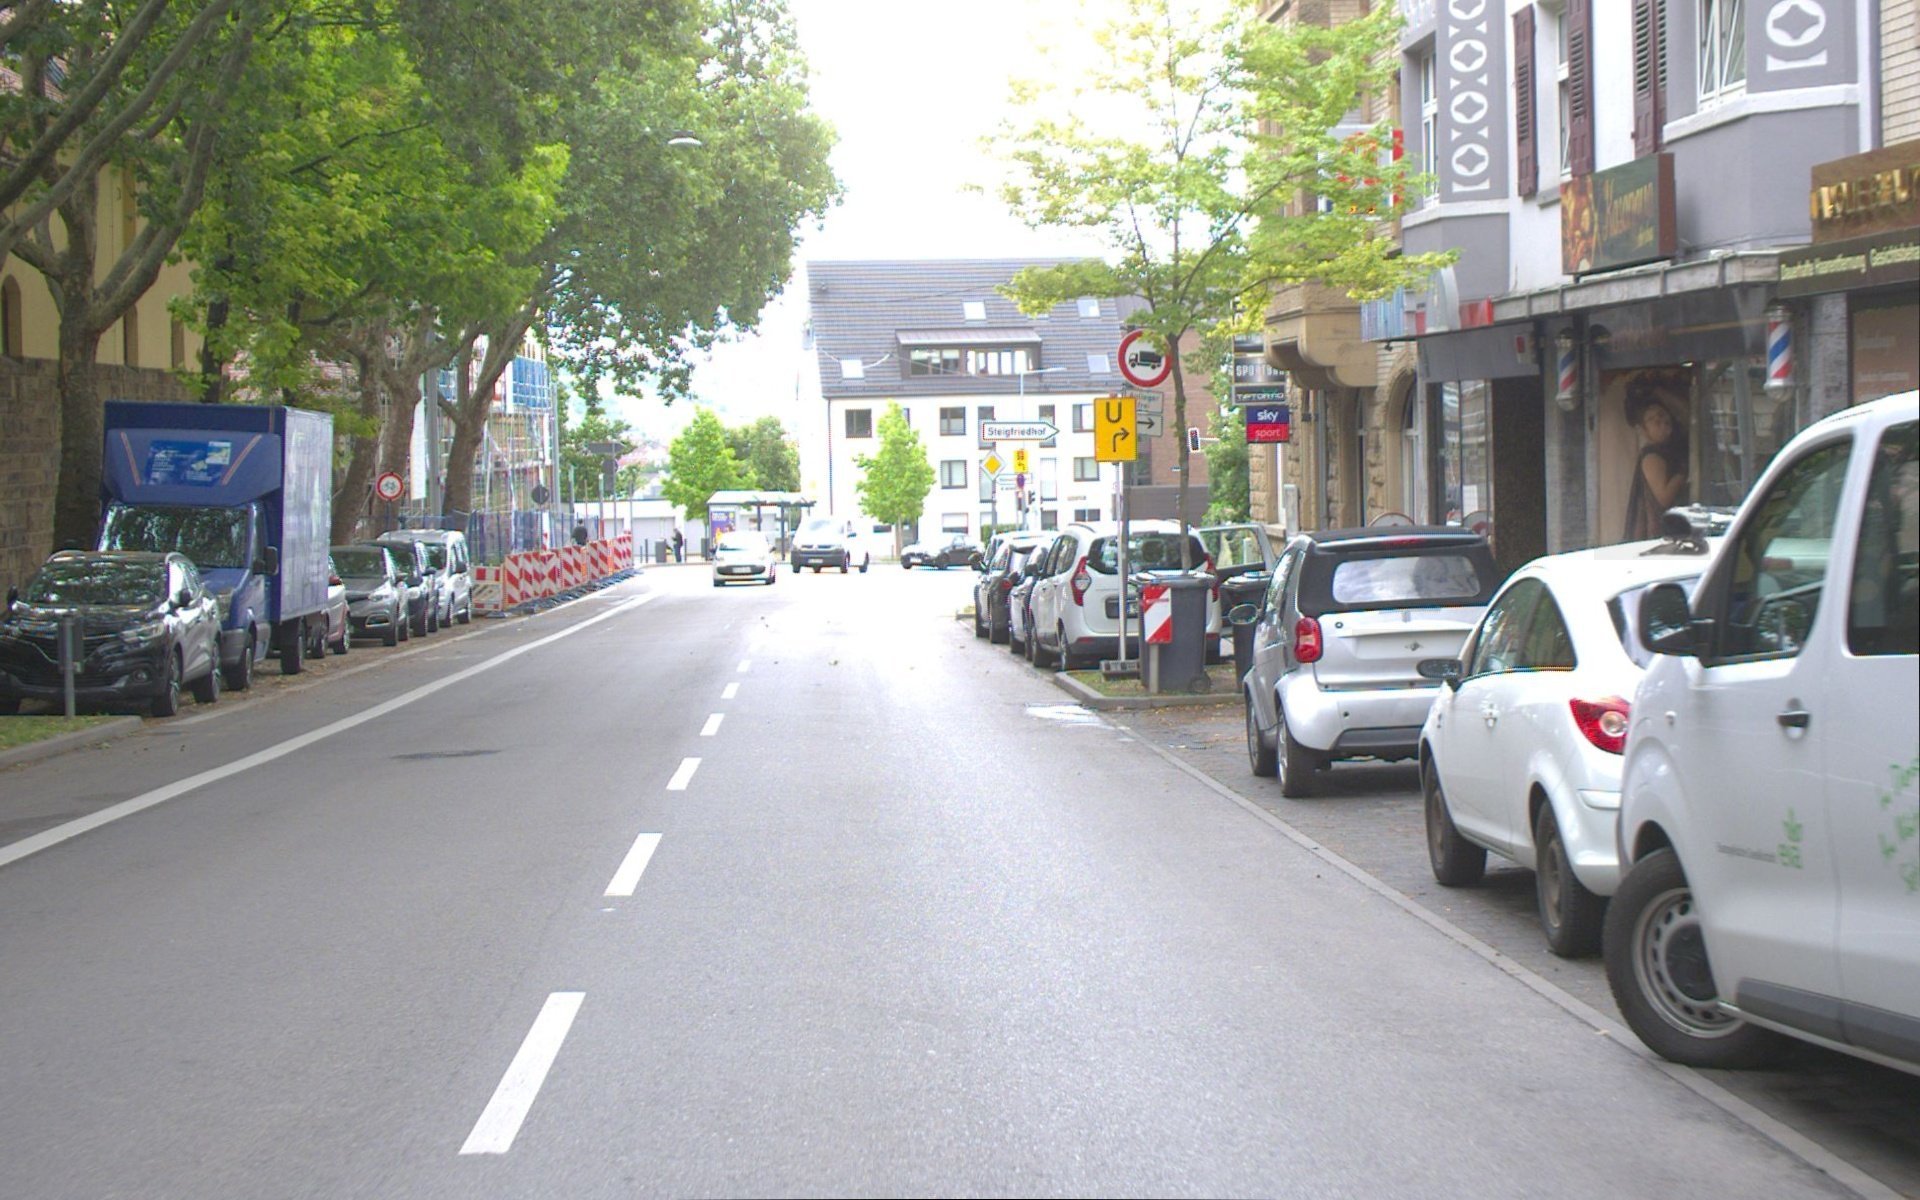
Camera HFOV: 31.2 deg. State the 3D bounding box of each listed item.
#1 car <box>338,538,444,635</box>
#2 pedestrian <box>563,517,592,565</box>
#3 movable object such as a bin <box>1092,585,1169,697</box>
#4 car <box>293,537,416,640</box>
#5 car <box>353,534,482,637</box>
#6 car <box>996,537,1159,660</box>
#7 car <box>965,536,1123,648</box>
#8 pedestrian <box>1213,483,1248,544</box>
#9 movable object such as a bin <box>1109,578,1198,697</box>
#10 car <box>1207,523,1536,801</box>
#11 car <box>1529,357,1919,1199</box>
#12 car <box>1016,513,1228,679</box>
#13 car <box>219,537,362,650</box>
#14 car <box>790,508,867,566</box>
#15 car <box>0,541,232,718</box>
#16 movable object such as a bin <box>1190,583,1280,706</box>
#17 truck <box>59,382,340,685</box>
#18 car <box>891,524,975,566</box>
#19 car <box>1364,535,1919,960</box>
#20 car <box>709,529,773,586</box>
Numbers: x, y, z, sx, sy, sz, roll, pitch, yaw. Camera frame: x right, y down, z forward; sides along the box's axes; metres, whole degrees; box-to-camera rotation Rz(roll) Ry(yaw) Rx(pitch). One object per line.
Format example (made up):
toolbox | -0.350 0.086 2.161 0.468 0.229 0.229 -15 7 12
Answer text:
car | -9.995 -0.240 60.584 1.508 1.626 4.116 1 0 -5
pedestrian | -13.596 -2.093 122.169 0.923 1.714 0.798 1 0 1
movable object such as a bin | 1.588 0.375 32.118 0.622 1.021 0.697 -1 1 -4
car | -9.702 -0.189 55.313 1.593 1.568 4.088 1 0 -5
car | -10.414 -0.310 66.261 1.834 1.870 4.417 -2 1 -2
car | 1.425 -0.051 43.273 1.605 1.392 4.277 -3 1 -3
car | 1.156 -0.148 49.442 1.738 1.458 4.776 -3 1 -4
pedestrian | 7.779 -2.471 98.791 0.710 1.728 0.661 1 0 -35
movable object such as a bin | 1.716 0.326 30.522 0.622 1.021 0.697 -1 1 -10
car | 2.494 0.317 21.509 1.481 1.529 3.522 -3 1 -1
car | 2.996 0.378 8.393 1.906 1.923 4.921 -3 1 -5
car | 1.737 -0.076 38.373 1.678 1.657 4.545 -3 1 -5
car | -9.697 -0.096 49.932 1.480 1.568 2.992 1 0 0
car | -4.439 -2.166 116.887 2.205 1.924 5.240 0 1 2
car | -8.653 0.271 35.120 1.731 1.683 4.253 1 0 -3
movable object such as a bin | 2.430 0.387 30.462 0.694 1.070 0.624 0 1 -6
truck | -9.265 -0.803 42.541 2.215 3.404 7.248 1 1 -3
car | -1.017 -2.123 132.364 1.658 1.459 3.995 -3 0 24
car | 2.839 0.479 14.082 1.683 1.410 4.042 -3 1 -2
car | -6.042 -1.176 95.006 1.583 1.459 3.652 -4 1 -2
